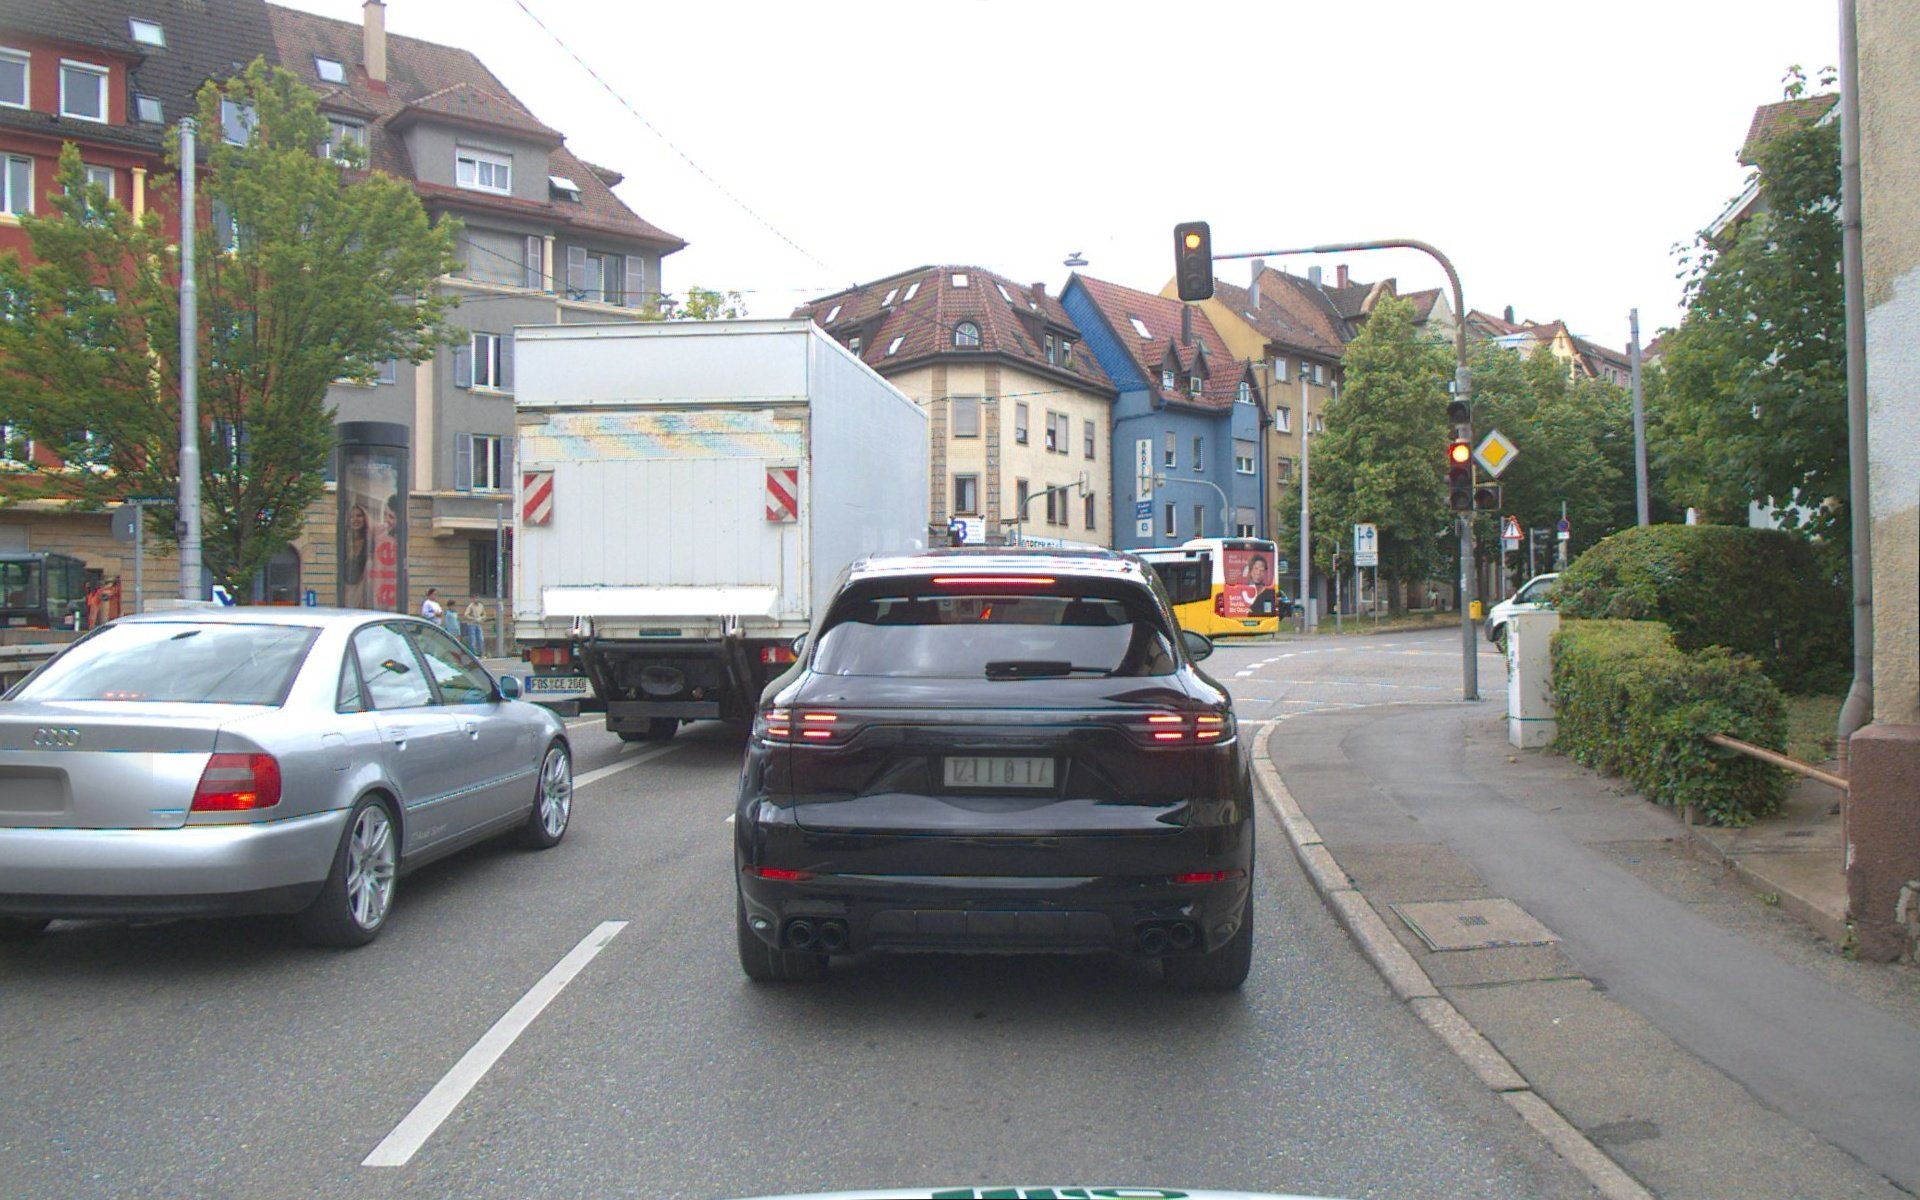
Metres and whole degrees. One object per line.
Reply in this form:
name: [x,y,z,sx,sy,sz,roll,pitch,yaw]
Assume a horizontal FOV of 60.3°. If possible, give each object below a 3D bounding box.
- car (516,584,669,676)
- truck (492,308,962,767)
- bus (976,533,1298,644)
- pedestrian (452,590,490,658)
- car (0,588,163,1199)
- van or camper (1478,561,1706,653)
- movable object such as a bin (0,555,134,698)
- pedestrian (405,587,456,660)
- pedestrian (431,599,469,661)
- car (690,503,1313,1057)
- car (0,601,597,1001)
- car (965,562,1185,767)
car: [-6.685,0.518,30.380,1.563,1.544,3.462,-1,0,9]
truck: [-1.867,-0.533,17.325,2.667,3.606,8.428,1,0,7]
bus: [5.218,-0.249,52.586,3.130,3.150,12.003,-1,-1,-34]
pedestrian: [-11.046,0.527,37.363,0.512,1.513,0.653,0,0,28]
car: [-2.703,0.711,1.203,1.953,1.454,4.841,0,0,-1]
van or camper: [14.966,0.157,39.384,1.979,2.049,4.766,1,0,-37]
movable object such as a bin: [-13.953,0.374,25.473,1.351,2.049,3.525,-1,0,-12]
pedestrian: [-11.569,0.508,36.146,0.777,1.573,0.738,-1,0,26]
pedestrian: [-11.342,0.651,36.783,0.563,1.361,0.583,0,0,27]
car: [0.211,0.567,7.606,1.989,1.753,4.501,1,0,2]
car: [-3.114,0.723,7.960,1.594,1.389,4.130,-1,0,3]
car: [1.141,0.511,14.780,1.613,1.583,3.586,1,0,9]
